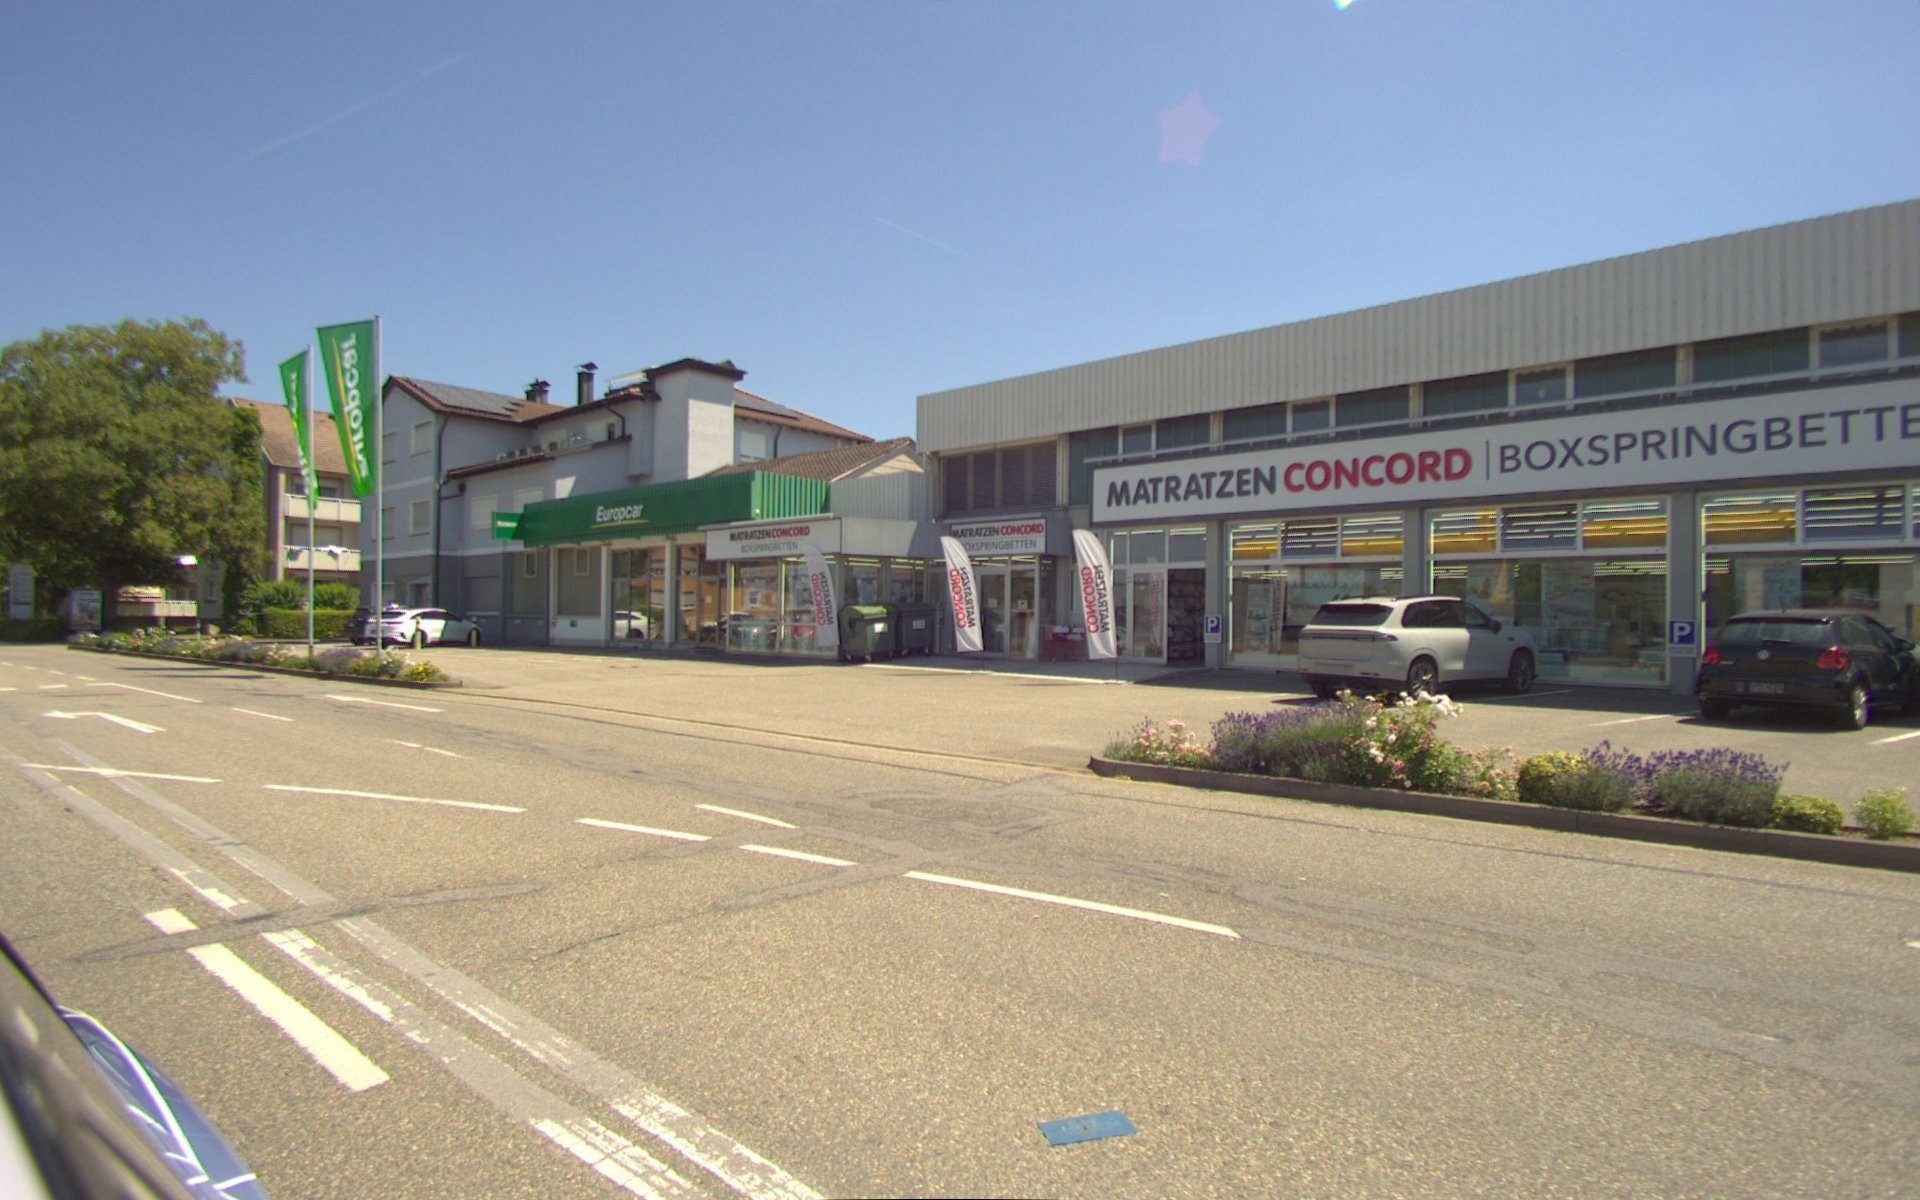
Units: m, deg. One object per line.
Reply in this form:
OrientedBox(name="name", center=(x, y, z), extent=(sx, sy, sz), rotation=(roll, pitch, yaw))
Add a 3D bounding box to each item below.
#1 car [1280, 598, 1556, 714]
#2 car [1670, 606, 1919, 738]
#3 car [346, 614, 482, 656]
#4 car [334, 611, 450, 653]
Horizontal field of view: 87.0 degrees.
OrientedBox(name="car", center=(7.561, 0.815, 16.606), extent=(4.468, 1.676, 2.006), rotation=(0, -1, -33))
OrientedBox(name="car", center=(11.302, 0.837, 13.303), extent=(3.576, 1.486, 2.006), rotation=(0, -1, -33))
OrientedBox(name="car", center=(-19.887, 1.238, 37.082), extent=(1.923, 1.450, 4.332), rotation=(0, -1, 16))
OrientedBox(name="car", center=(-22.456, 1.232, 40.070), extent=(1.967, 1.577, 3.526), rotation=(-1, -1, 38))
